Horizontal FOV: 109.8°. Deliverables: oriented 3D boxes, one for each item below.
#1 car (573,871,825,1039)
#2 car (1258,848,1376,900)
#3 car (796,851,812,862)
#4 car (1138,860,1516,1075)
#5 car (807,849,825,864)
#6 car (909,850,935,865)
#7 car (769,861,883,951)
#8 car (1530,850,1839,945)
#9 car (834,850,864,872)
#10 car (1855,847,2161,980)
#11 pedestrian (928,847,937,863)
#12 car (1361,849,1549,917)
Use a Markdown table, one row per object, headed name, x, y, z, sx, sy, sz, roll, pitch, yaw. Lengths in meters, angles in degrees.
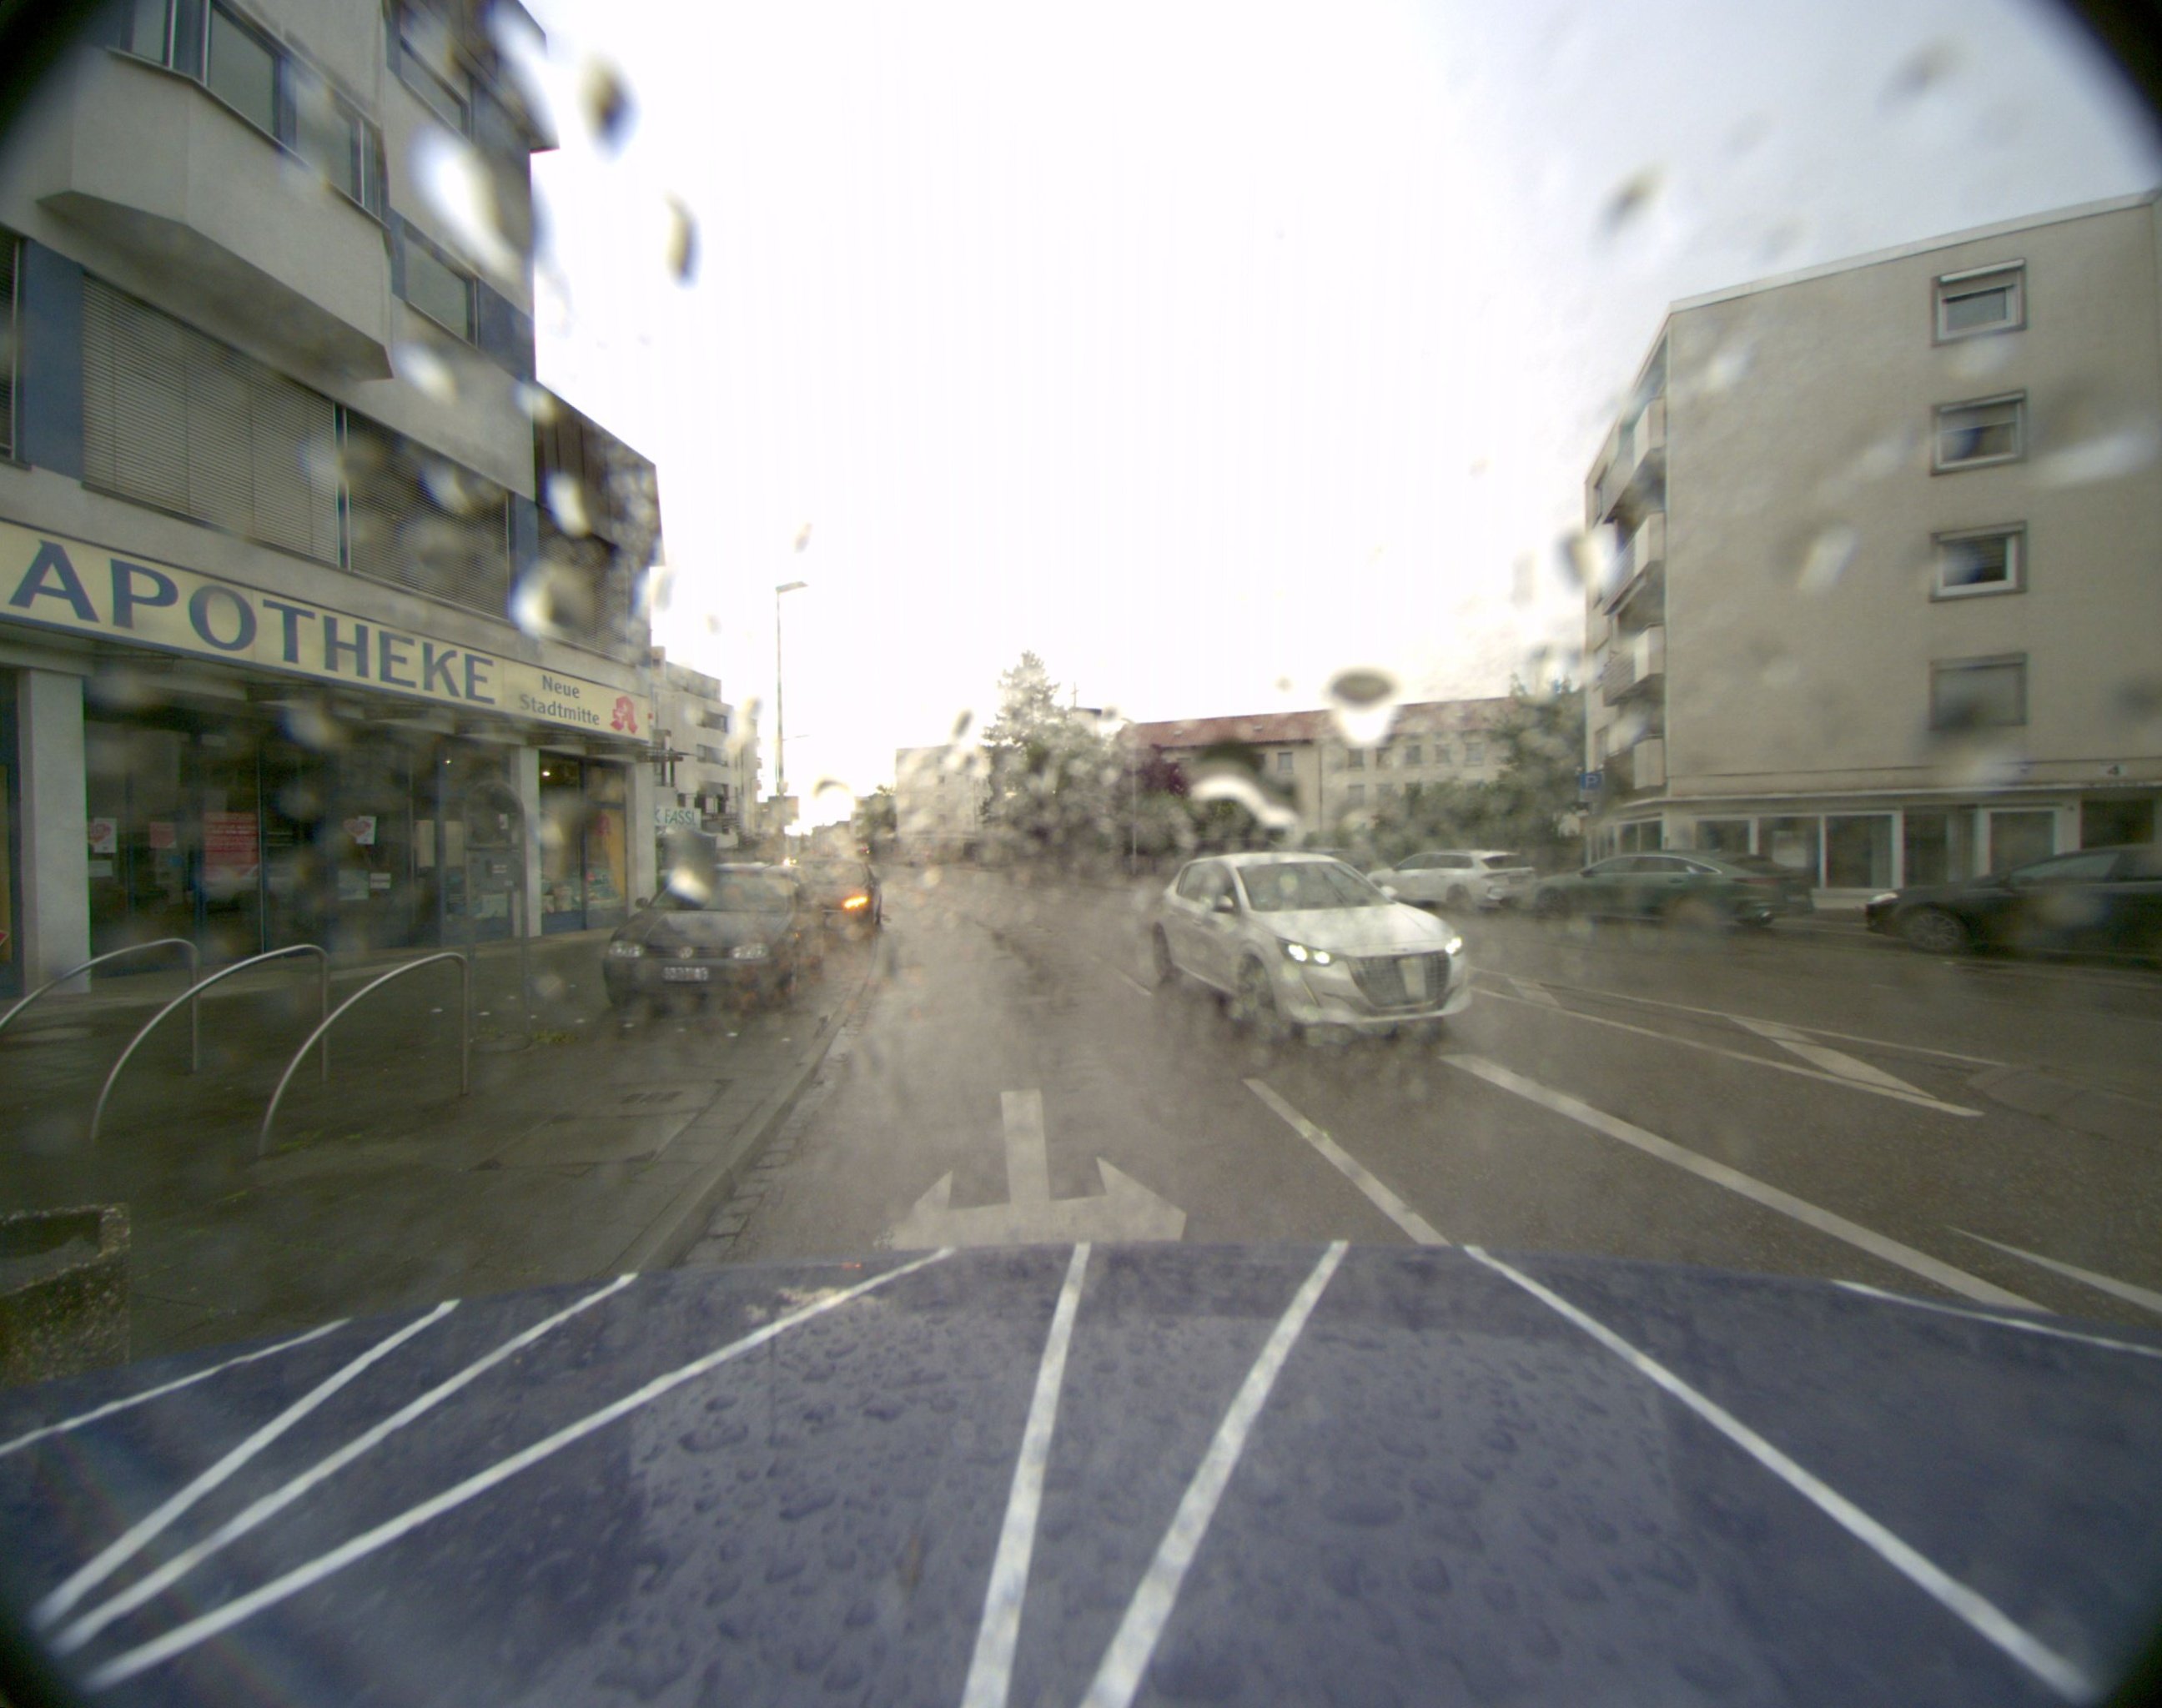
| name | x | y | z | sx | sy | sz | roll | pitch | yaw |
| --- | --- | --- | --- | --- | --- | --- | --- | --- | --- |
| car | -4.016 | 0.945 | 8.643 | 1.656 | 1.364 | 3.727 | 2 | 0 | -12 |
| car | 7.511 | 0.579 | 24.546 | 1.636 | 1.497 | 3.873 | -1 | 1 | -20 |
| car | -37.523 | 0.379 | 102.870 | 1.804 | 1.361 | 3.964 | -1 | 2 | -24 |
| car | 1.965 | 0.809 | 7.377 | 1.744 | 1.401 | 3.892 | -3 | 1 | -12 |
| car | -28.722 | 0.248 | 82.323 | 1.736 | 1.519 | 4.056 | -1 | 0 | -21 |
| car | -15.459 | 0.332 | 73.770 | 1.874 | 1.428 | 3.733 | -1 | 1 | -20 |
| car | -4.796 | 0.890 | 14.763 | 1.660 | 1.416 | 3.995 | -1 | 1 | -12 |
| car | 11.150 | 0.686 | 14.456 | 1.839 | 1.426 | 4.266 | -2 | 2 | -21 |
| car | -16.828 | 0.445 | 55.065 | 1.737 | 1.436 | 4.039 | -2 | 2 | -21 |
| car | 12.918 | 0.672 | 9.485 | 1.839 | 1.451 | 4.180 | -2 | 2 | -21 |
| pedestrian | -16.996 | 0.106 | 86.993 | 0.857 | 1.726 | 0.834 | -1 | 2 | -29 |
| car | 9.300 | 0.630 | 19.344 | 1.639 | 1.491 | 4.338 | -1 | 1 | -21 |
